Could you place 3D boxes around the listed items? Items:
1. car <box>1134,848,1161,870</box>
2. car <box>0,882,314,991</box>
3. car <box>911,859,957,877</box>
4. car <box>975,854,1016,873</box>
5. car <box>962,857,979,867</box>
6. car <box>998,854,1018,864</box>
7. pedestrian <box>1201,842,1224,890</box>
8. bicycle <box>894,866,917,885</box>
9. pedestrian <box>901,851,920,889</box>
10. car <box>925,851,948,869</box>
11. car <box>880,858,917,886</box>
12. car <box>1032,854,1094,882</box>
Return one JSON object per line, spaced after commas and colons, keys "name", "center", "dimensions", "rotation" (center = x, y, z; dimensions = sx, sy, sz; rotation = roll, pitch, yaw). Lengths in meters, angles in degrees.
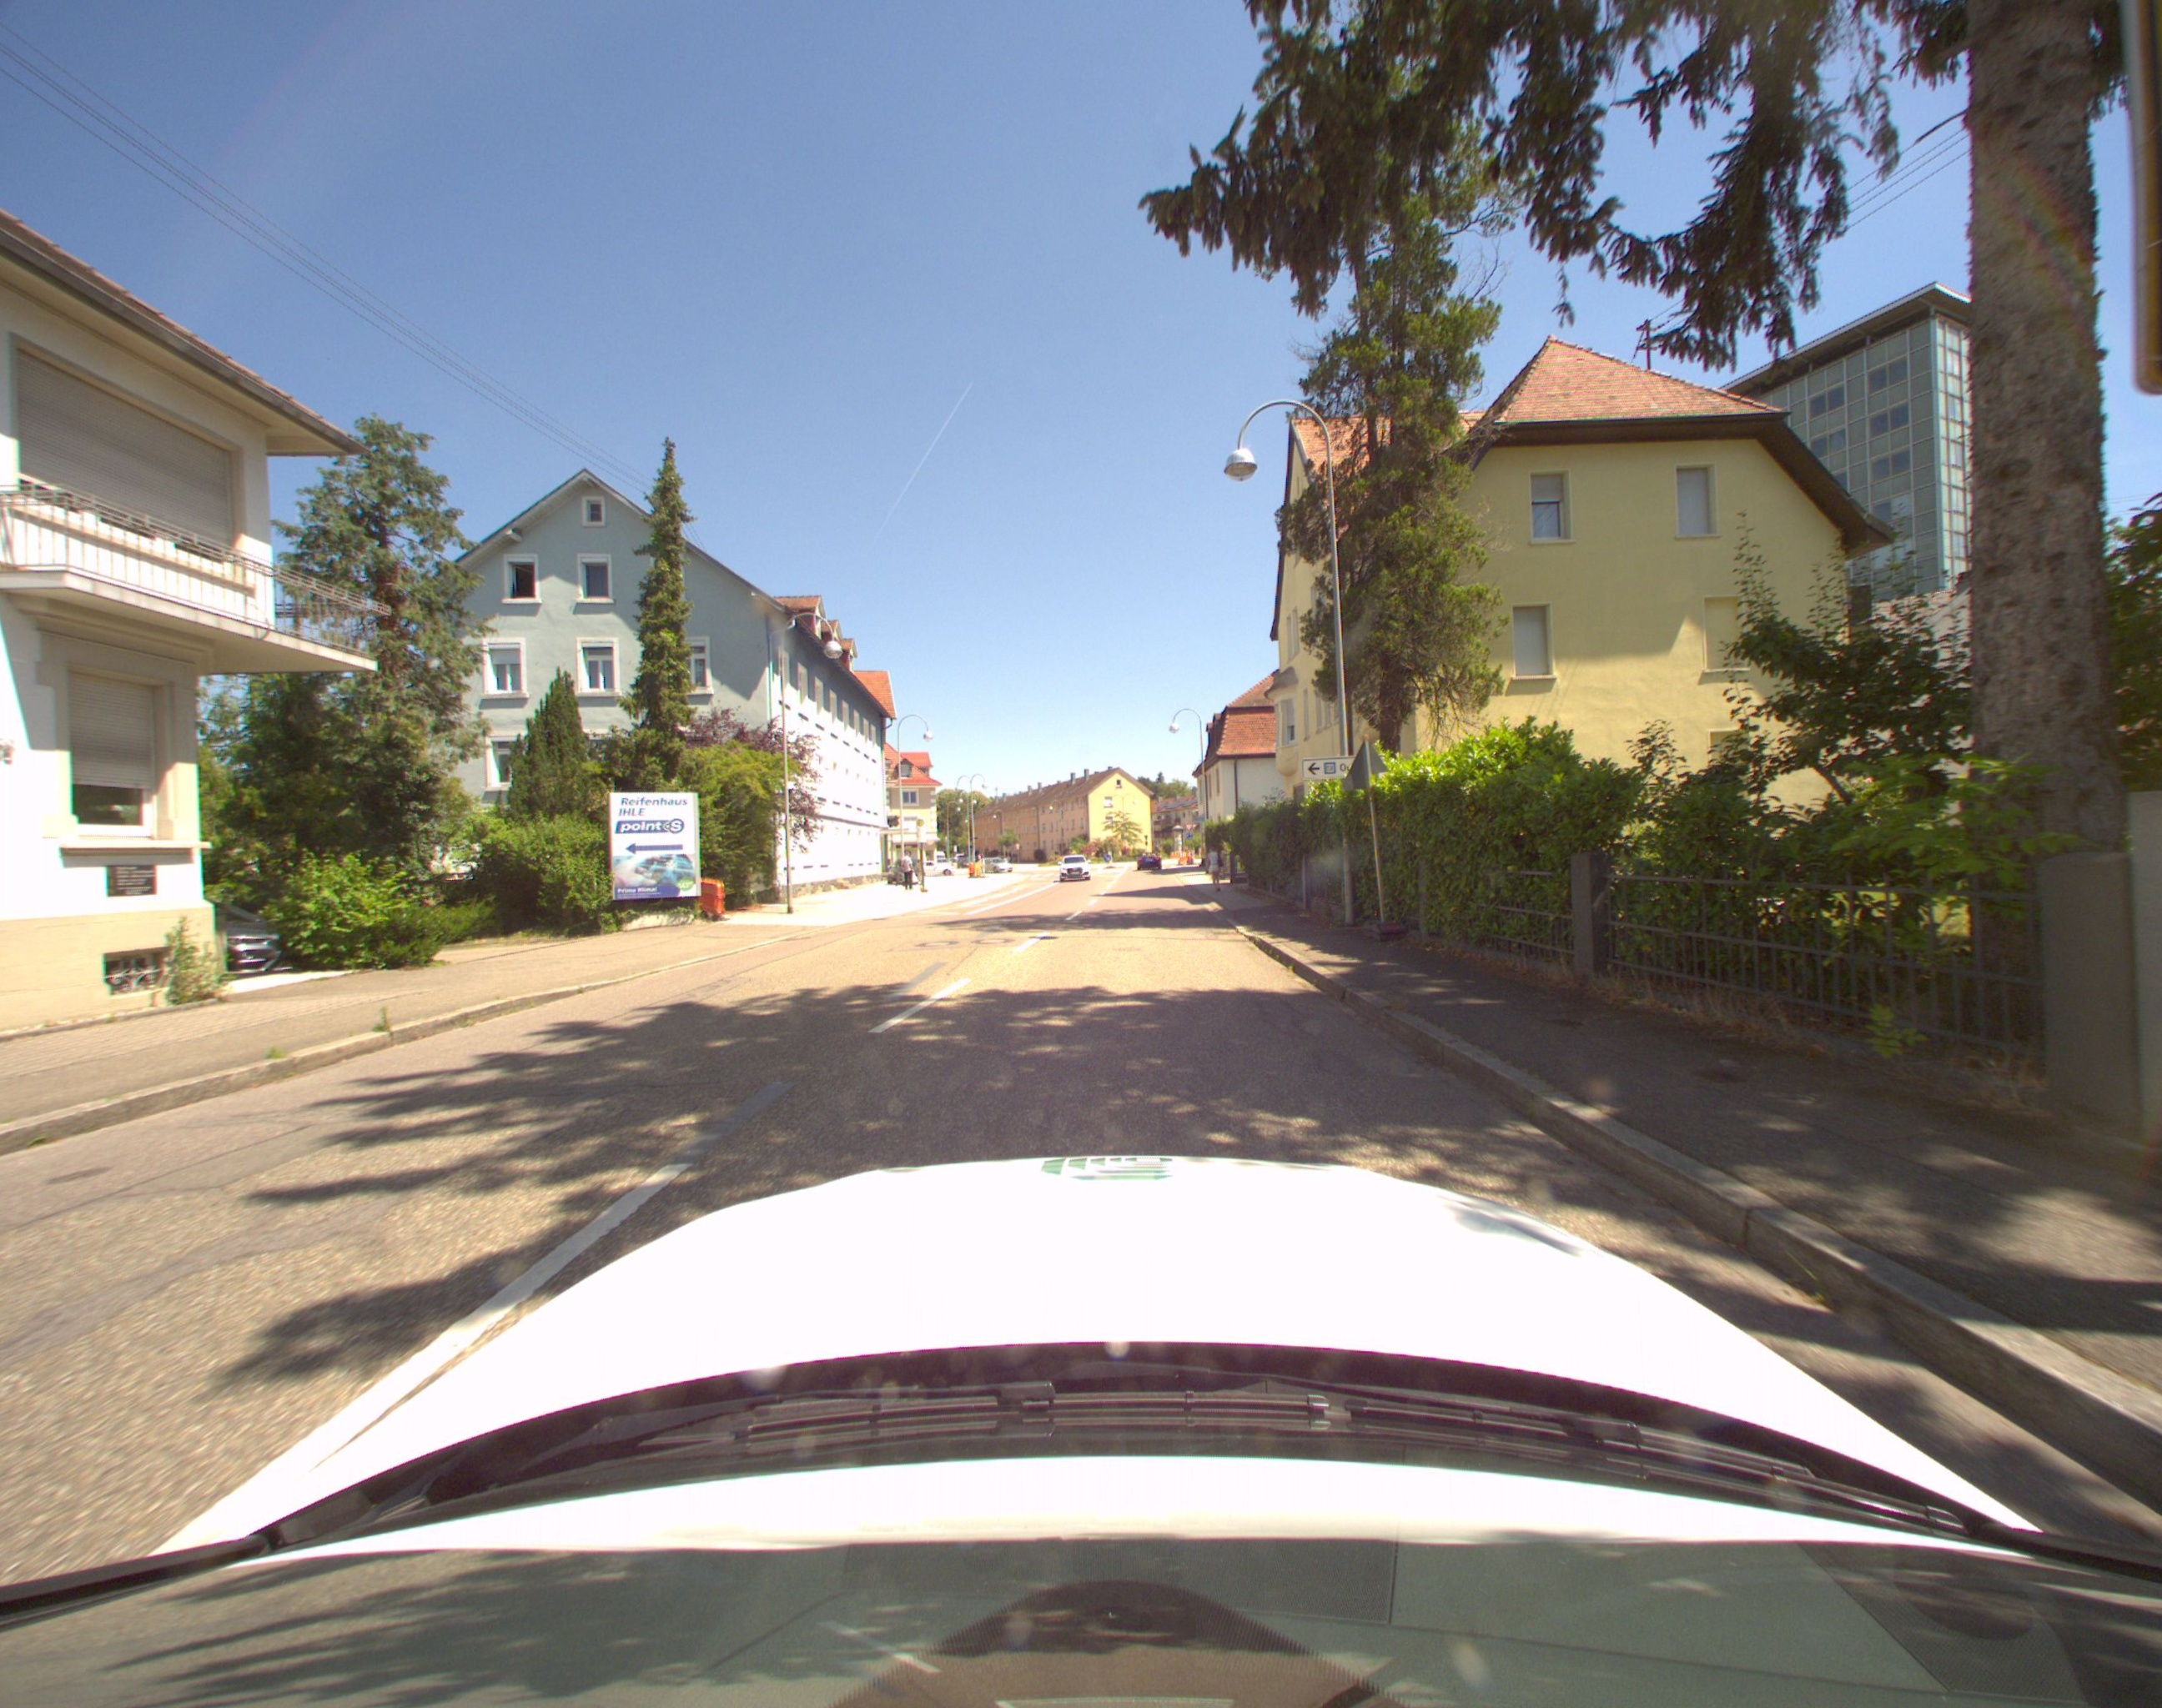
{"name": "car", "center": [5.151, 0.411, 63.319], "dimensions": [1.863, 1.530, 4.508], "rotation": [-2, -2, 2]}
{"name": "car", "center": [-15.313, 1.325, 13.406], "dimensions": [3.907, 1.540, 1.565], "rotation": [-2, -3, 1]}
{"name": "car", "center": [-13.673, 1.277, 76.119], "dimensions": [4.112, 1.551, 1.782], "rotation": [-1, -1, -8]}
{"name": "car", "center": [-8.155, 0.952, 77.441], "dimensions": [1.797, 1.747, 4.079], "rotation": [0, -1, -41]}
{"name": "car", "center": [-19.398, 1.437, 142.581], "dimensions": [1.821, 1.794, 3.967], "rotation": [-1, -1, -24]}
{"name": "car", "center": [-11.430, 0.855, 127.488], "dimensions": [1.821, 1.500, 3.967], "rotation": [-1, -1, -24]}
{"name": "pedestrian", "center": [4.571, 0.411, 28.325], "dimensions": [0.621, 1.644, 0.772], "rotation": [-3, -1, 1]}
{"name": "bicycle", "center": [-9.406, 1.131, 43.803], "dimensions": [0.493, 0.977, 1.978], "rotation": [2, 0, 9]}
{"name": "pedestrian", "center": [-8.327, 0.785, 39.775], "dimensions": [0.754, 1.848, 0.771], "rotation": [1, -1, -4]}
{"name": "car", "center": [-21.103, 0.841, 119.099], "dimensions": [2.153, 2.533, 6.192], "rotation": [0, -1, -21]}
{"name": "car", "center": [-10.633, 1.067, 47.682], "dimensions": [1.575, 1.534, 3.767], "rotation": [-2, -2, -6]}
{"name": "car", "center": [-1.131, 0.837, 48.990], "dimensions": [1.834, 1.530, 3.907], "rotation": [-1, -2, -35]}
